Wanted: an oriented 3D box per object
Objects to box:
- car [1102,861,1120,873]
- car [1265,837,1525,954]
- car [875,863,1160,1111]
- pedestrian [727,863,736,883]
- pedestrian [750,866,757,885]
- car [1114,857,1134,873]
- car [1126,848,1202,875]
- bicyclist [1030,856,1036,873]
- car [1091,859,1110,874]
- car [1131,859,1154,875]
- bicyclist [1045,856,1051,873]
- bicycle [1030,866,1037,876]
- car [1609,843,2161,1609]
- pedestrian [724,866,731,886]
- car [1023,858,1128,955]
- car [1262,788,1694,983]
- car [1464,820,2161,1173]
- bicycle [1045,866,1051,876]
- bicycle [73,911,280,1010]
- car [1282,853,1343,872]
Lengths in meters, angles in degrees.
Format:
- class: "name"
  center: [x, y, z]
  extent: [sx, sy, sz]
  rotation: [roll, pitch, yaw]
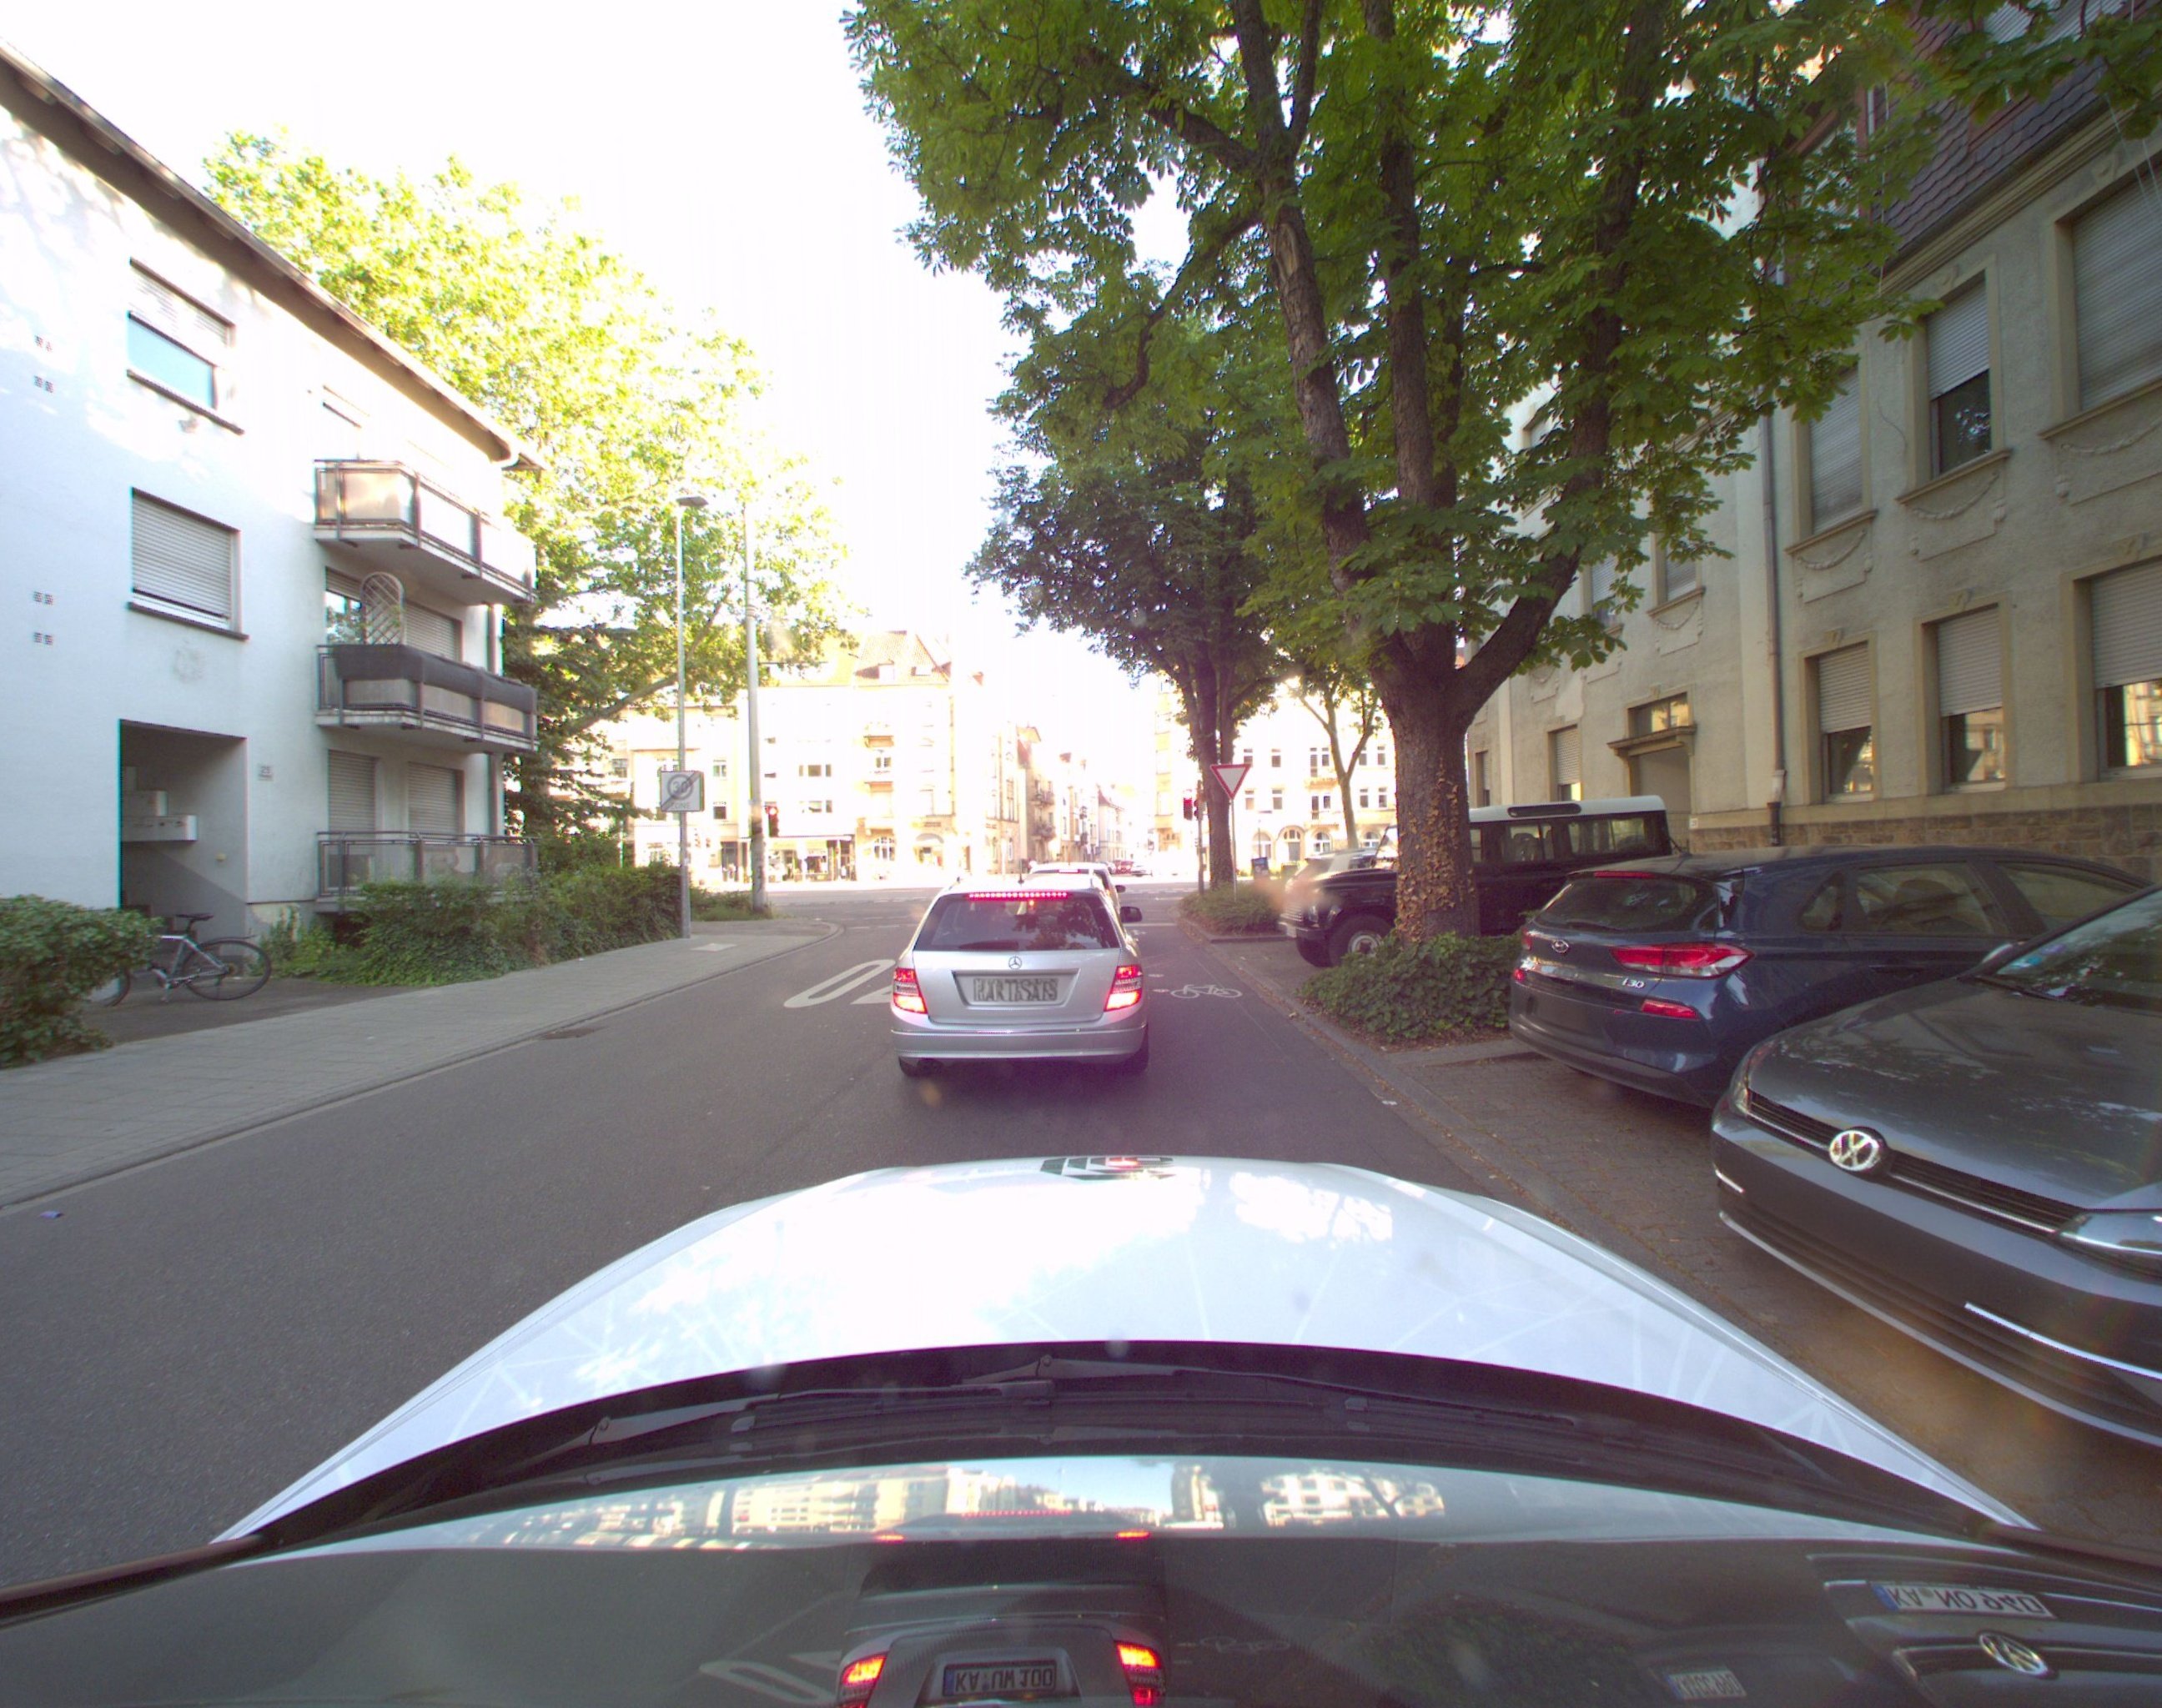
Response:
- class: "car"
  center: [4.015, 1.706, 109.021]
  extent: [1.639, 1.604, 3.876]
  rotation: [-1, -1, 13]
- class: "car"
  center: [4.935, 0.618, 13.093]
  extent: [3.475, 1.586, 1.708]
  rotation: [-3, 0, -5]
- class: "car"
  center: [-0.395, 0.807, 6.594]
  extent: [1.685, 1.429, 3.491]
  rotation: [0, 0, -1]
- class: "pedestrian"
  center: [-27.417, 1.498, 63.822]
  extent: [0.566, 1.511, 0.499]
  rotation: [-1, 0, -17]
- class: "pedestrian"
  center: [-26.025, 1.708, 64.645]
  extent: [0.474, 1.511, 0.428]
  rotation: [-1, 0, -18]
- class: "car"
  center: [5.448, 1.368, 103.302]
  extent: [1.926, 1.958, 4.161]
  rotation: [-2, 0, 10]
- class: "car"
  center: [5.032, 0.433, 49.278]
  extent: [4.311, 1.461, 1.770]
  rotation: [-2, 1, -29]
- class: "bicyclist"
  center: [-4.310, 0.988, 73.720]
  extent: [0.465, 1.514, 0.655]
  rotation: [-1, 0, -2]
- class: "car"
  center: [2.515, 1.561, 102.554]
  extent: [1.639, 1.783, 3.876]
  rotation: [-1, -1, 13]
- class: "car"
  center: [6.499, 1.342, 85.930]
  extent: [1.708, 1.478, 4.016]
  rotation: [-3, 0, 14]
- class: "bicyclist"
  center: [-2.996, 0.956, 73.758]
  extent: [0.465, 1.521, 0.693]
  rotation: [-1, 0, -2]
- class: "bicycle"
  center: [-4.294, 1.552, 73.819]
  extent: [0.567, 0.834, 1.564]
  rotation: [-1, 0, -1]
- class: "car"
  center: [4.077, 0.663, 2.342]
  extent: [4.037, 1.422, 1.627]
  rotation: [-3, -1, -2]
- class: "pedestrian"
  center: [-28.112, 1.754, 64.754]
  extent: [0.511, 1.511, 0.532]
  rotation: [-1, 0, -26]
- class: "car"
  center: [-0.075, 0.787, 13.828]
  extent: [1.528, 1.391, 3.599]
  rotation: [-1, 0, 0]
- class: "car"
  center: [4.747, 0.356, 10.196]
  extent: [4.478, 1.956, 1.792]
  rotation: [-3, 0, -1]
- class: "car"
  center: [4.420, 0.617, 4.569]
  extent: [3.742, 1.422, 1.626]
  rotation: [-3, -1, -4]
- class: "bicycle"
  center: [-2.985, 1.504, 73.671]
  extent: [0.567, 0.834, 1.564]
  rotation: [-1, 0, -1]
- class: "bicycle"
  center: [-10.008, 1.148, 9.083]
  extent: [1.469, 0.975, 0.402]
  rotation: [2, -2, -38]
- class: "car"
  center: [14.141, 0.493, 49.773]
  extent: [3.352, 1.069, 1.380]
  rotation: [-1, 0, 0]
